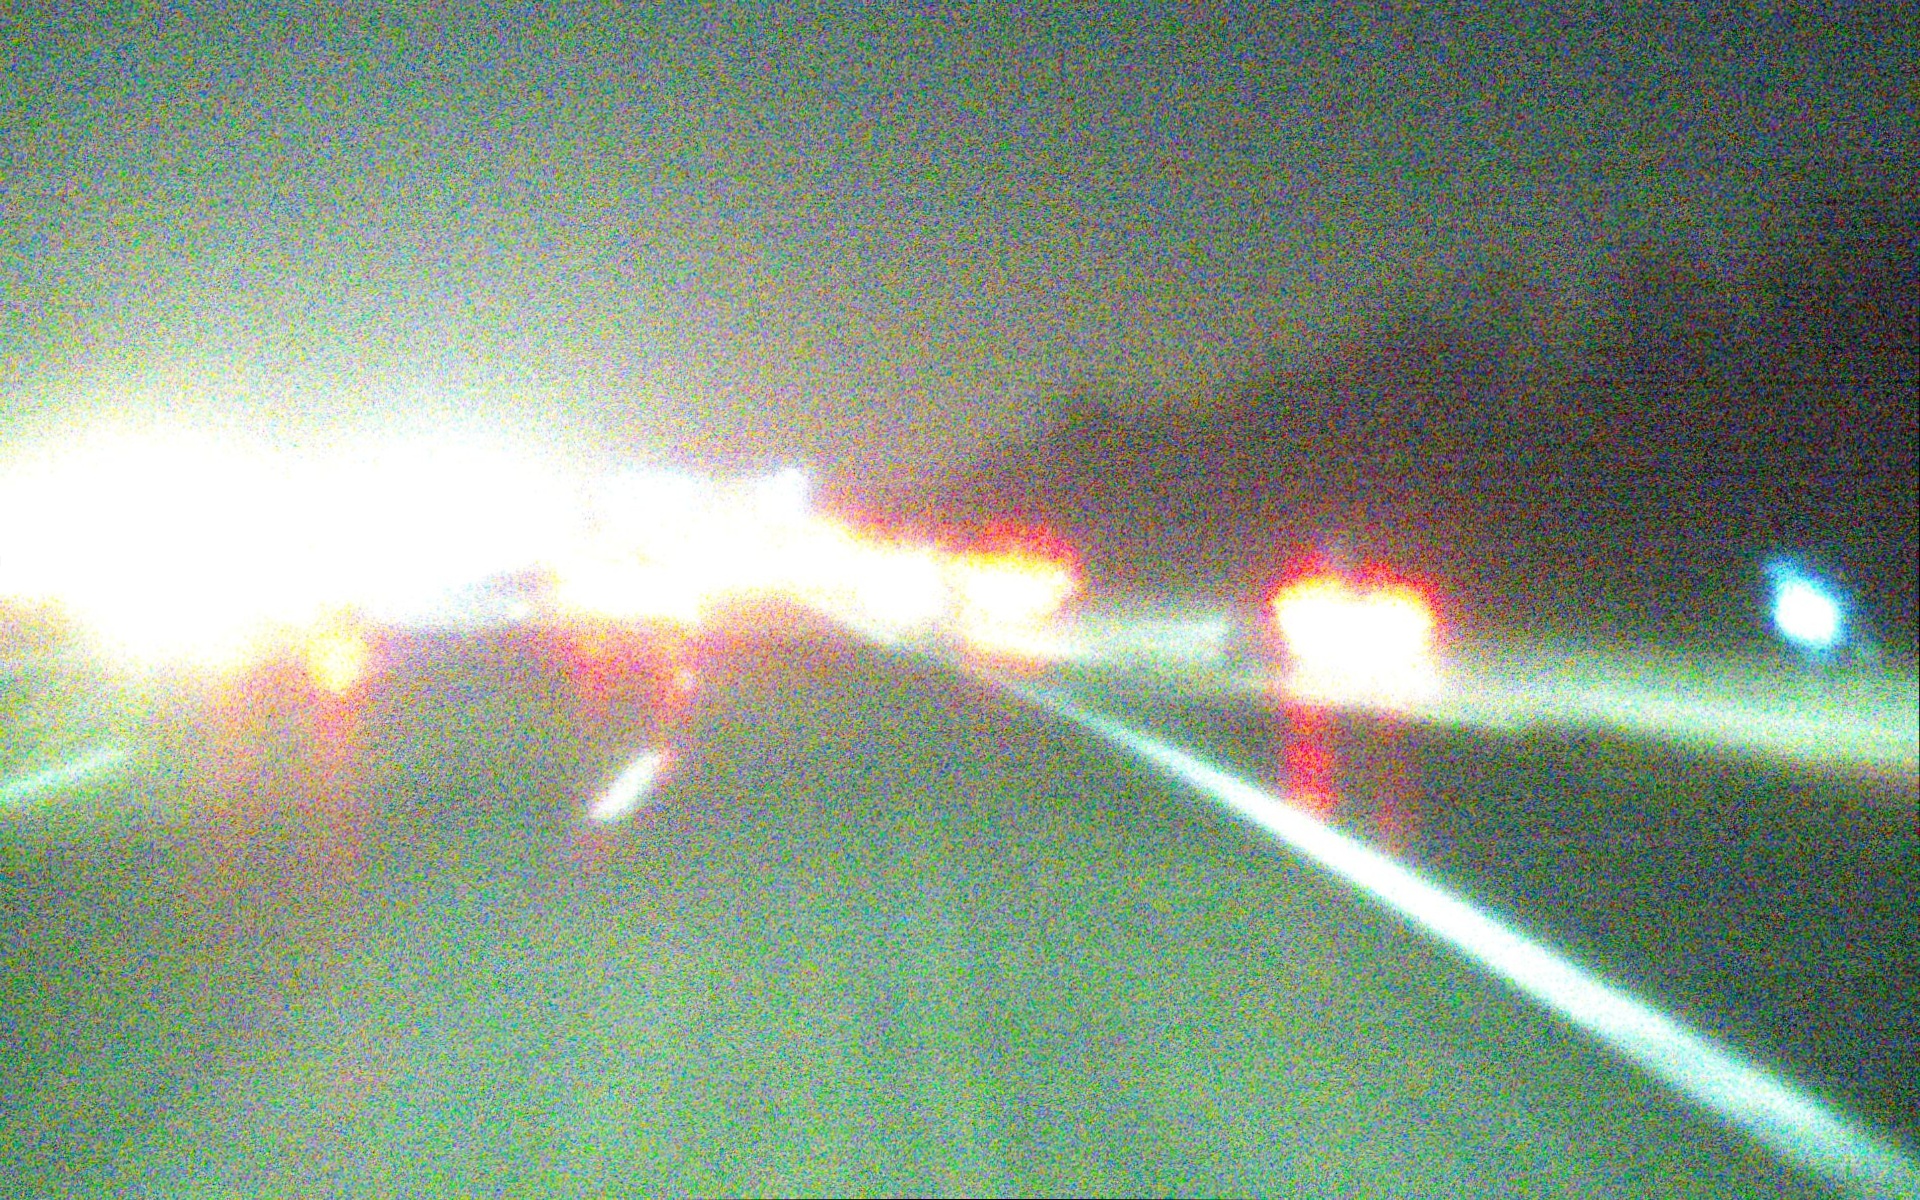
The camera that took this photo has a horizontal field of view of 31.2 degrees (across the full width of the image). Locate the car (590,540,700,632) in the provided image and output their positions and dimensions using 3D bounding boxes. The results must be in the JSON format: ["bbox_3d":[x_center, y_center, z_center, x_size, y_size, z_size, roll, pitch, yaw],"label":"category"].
[{"bbox_3d":[-5.514,-0.272,60.359,1.801,1.482,4.001,2,1,-5],"label":"car"}]

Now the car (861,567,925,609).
[{"bbox_3d":[-2.131,-0.387,108.198,1.580,1.242,3.069,2,0,-8],"label":"car"}]

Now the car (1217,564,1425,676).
[{"bbox_3d":[5.474,0.267,52.867,2.057,1.514,5.017,2,1,-7],"label":"car"}]

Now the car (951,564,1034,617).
[{"bbox_3d":[0.807,-0.256,87.237,1.580,1.242,3.069,2,1,-8],"label":"car"}]

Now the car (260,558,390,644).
[{"bbox_3d":[-9.670,0.026,52.565,1.662,1.232,3.762,-1,0,-6],"label":"car"}]

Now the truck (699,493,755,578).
[{"bbox_3d":[-8.859,-2.432,131.145,1.993,3.032,6.465,-1,0,-3],"label":"truck"}]
